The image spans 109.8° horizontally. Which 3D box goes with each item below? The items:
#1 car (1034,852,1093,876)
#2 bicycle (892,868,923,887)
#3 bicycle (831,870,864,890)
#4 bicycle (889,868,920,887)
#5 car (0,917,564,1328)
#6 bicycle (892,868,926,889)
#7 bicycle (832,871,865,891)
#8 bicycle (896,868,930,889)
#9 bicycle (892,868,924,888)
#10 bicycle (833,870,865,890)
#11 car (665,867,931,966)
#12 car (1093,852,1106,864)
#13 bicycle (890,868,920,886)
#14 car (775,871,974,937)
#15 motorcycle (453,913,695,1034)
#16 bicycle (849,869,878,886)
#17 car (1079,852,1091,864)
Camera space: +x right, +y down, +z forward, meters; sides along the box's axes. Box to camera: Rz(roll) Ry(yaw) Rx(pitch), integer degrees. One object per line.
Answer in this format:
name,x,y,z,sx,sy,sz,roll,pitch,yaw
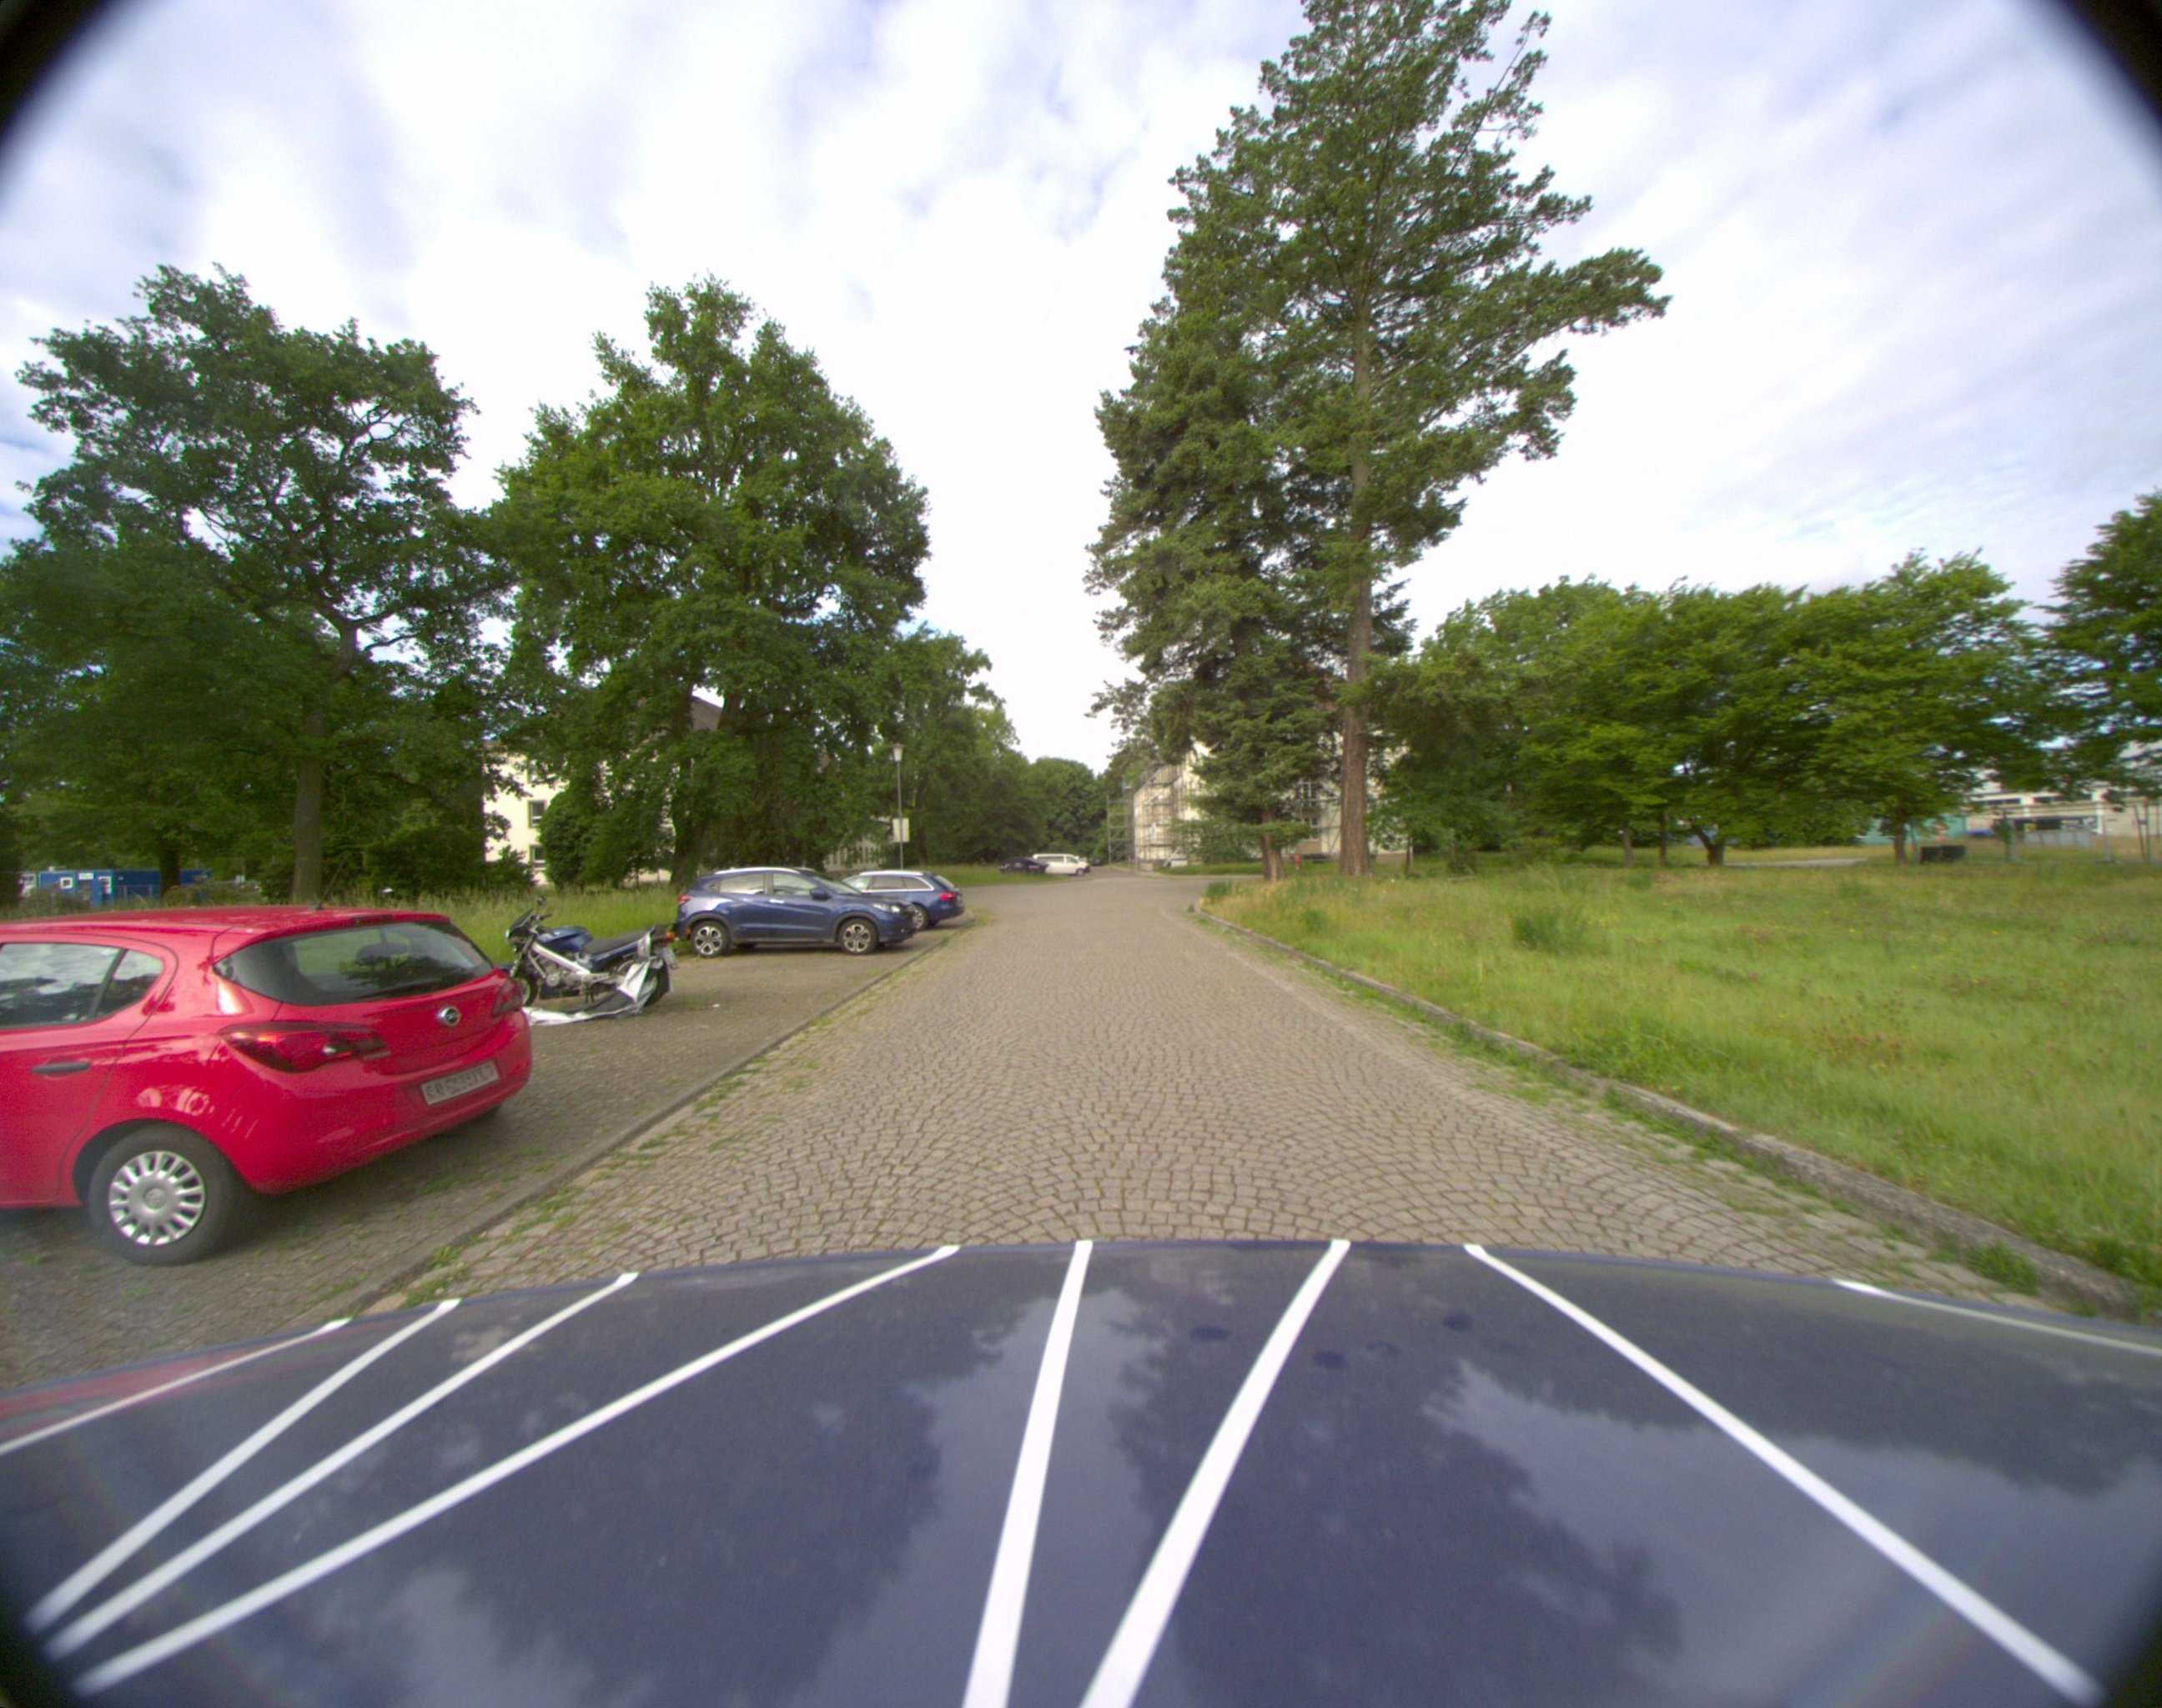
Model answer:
car,-1.568,0.851,67.798,5.149,2.002,2.000,-1,1,-1
bicycle,-11.805,1.582,51.729,1.941,1.163,0.487,-4,1,-22
bicycle,-14.786,1.656,48.163,1.862,1.163,0.487,-3,0,-26
bicycle,-11.870,1.589,51.115,1.941,1.163,0.487,-4,1,-22
car,-5.277,1.189,3.915,3.934,1.488,1.784,-1,0,-2
bicycle,-10.714,1.539,47.283,1.942,1.163,0.487,-4,1,-28
bicycle,-14.579,1.671,47.598,1.862,1.163,0.487,-3,0,-26
bicycle,-10.608,1.529,47.961,1.942,1.163,0.487,-4,1,-28
bicycle,-11.415,1.566,50.265,1.941,1.163,0.487,-4,1,-22
bicycle,-14.918,1.660,48.873,1.861,1.163,0.487,-3,0,-22
car,-5.114,1.102,14.220,4.256,1.613,1.886,-1,0,-2
car,3.232,0.638,134.263,1.963,2.002,4.259,-1,0,-2
bicycle,-12.256,1.603,52.962,1.941,1.163,0.537,-4,1,-17
car,-5.038,1.215,18.962,4.367,1.430,1.927,-1,0,2
motorcycle,-5.556,1.296,8.408,2.236,1.195,0.568,-1,0,-3
bicycle,-14.901,1.605,52.162,1.860,1.163,0.488,-1,0,-10
car,0.699,0.730,133.995,1.963,2.002,4.259,-1,0,-2
